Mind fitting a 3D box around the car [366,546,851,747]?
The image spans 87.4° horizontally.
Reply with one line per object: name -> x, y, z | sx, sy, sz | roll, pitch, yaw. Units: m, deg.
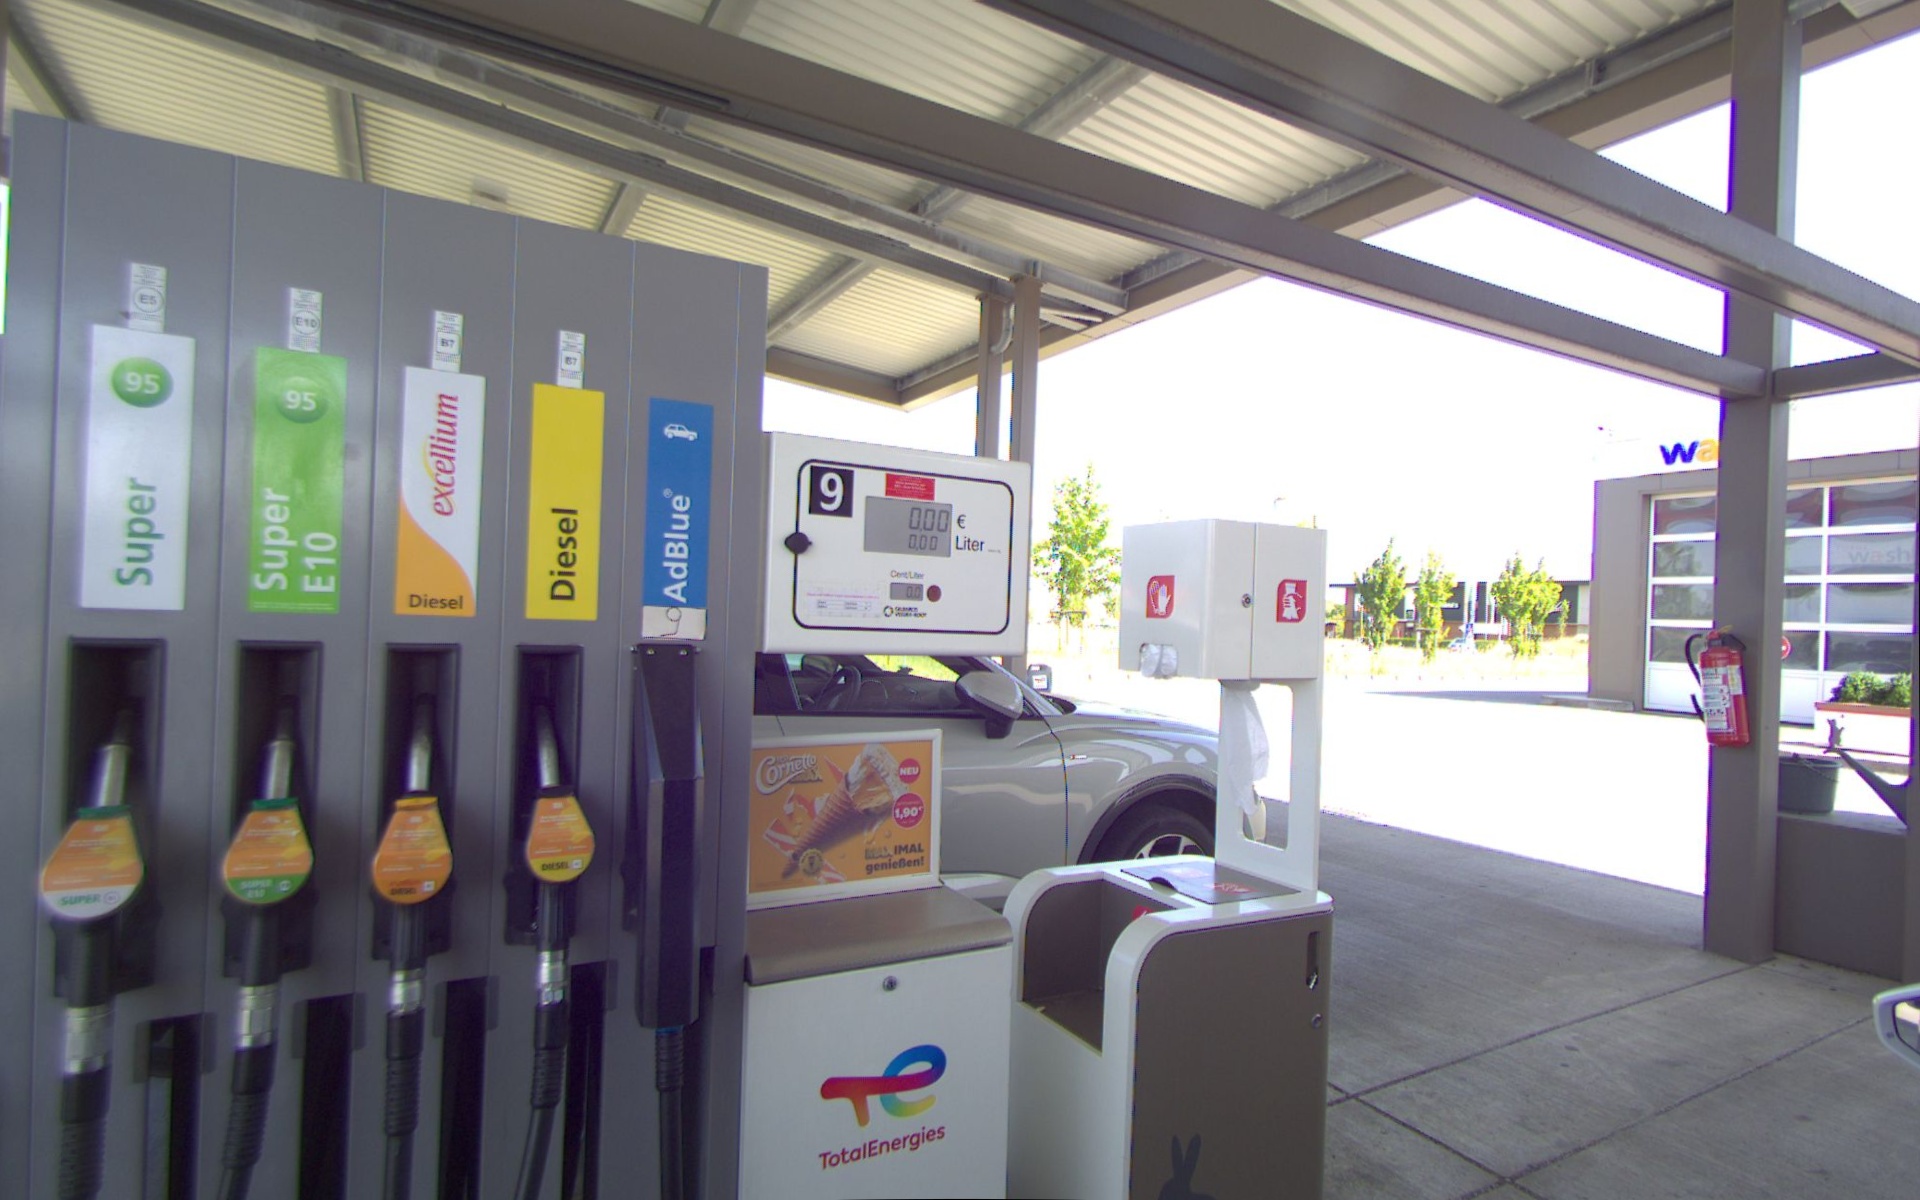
car -> -3.580, 0.450, 10.553 | 4.488, 1.710, 1.848 | 2, -1, -33

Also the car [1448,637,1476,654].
car -> 49.840, 4.493, 99.660 | 1.774, 1.617, 3.984 | 1, -1, 38

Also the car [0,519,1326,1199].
car -> -0.751, 0.662, 3.976 | 4.273, 1.562, 1.772 | 2, -1, -29
